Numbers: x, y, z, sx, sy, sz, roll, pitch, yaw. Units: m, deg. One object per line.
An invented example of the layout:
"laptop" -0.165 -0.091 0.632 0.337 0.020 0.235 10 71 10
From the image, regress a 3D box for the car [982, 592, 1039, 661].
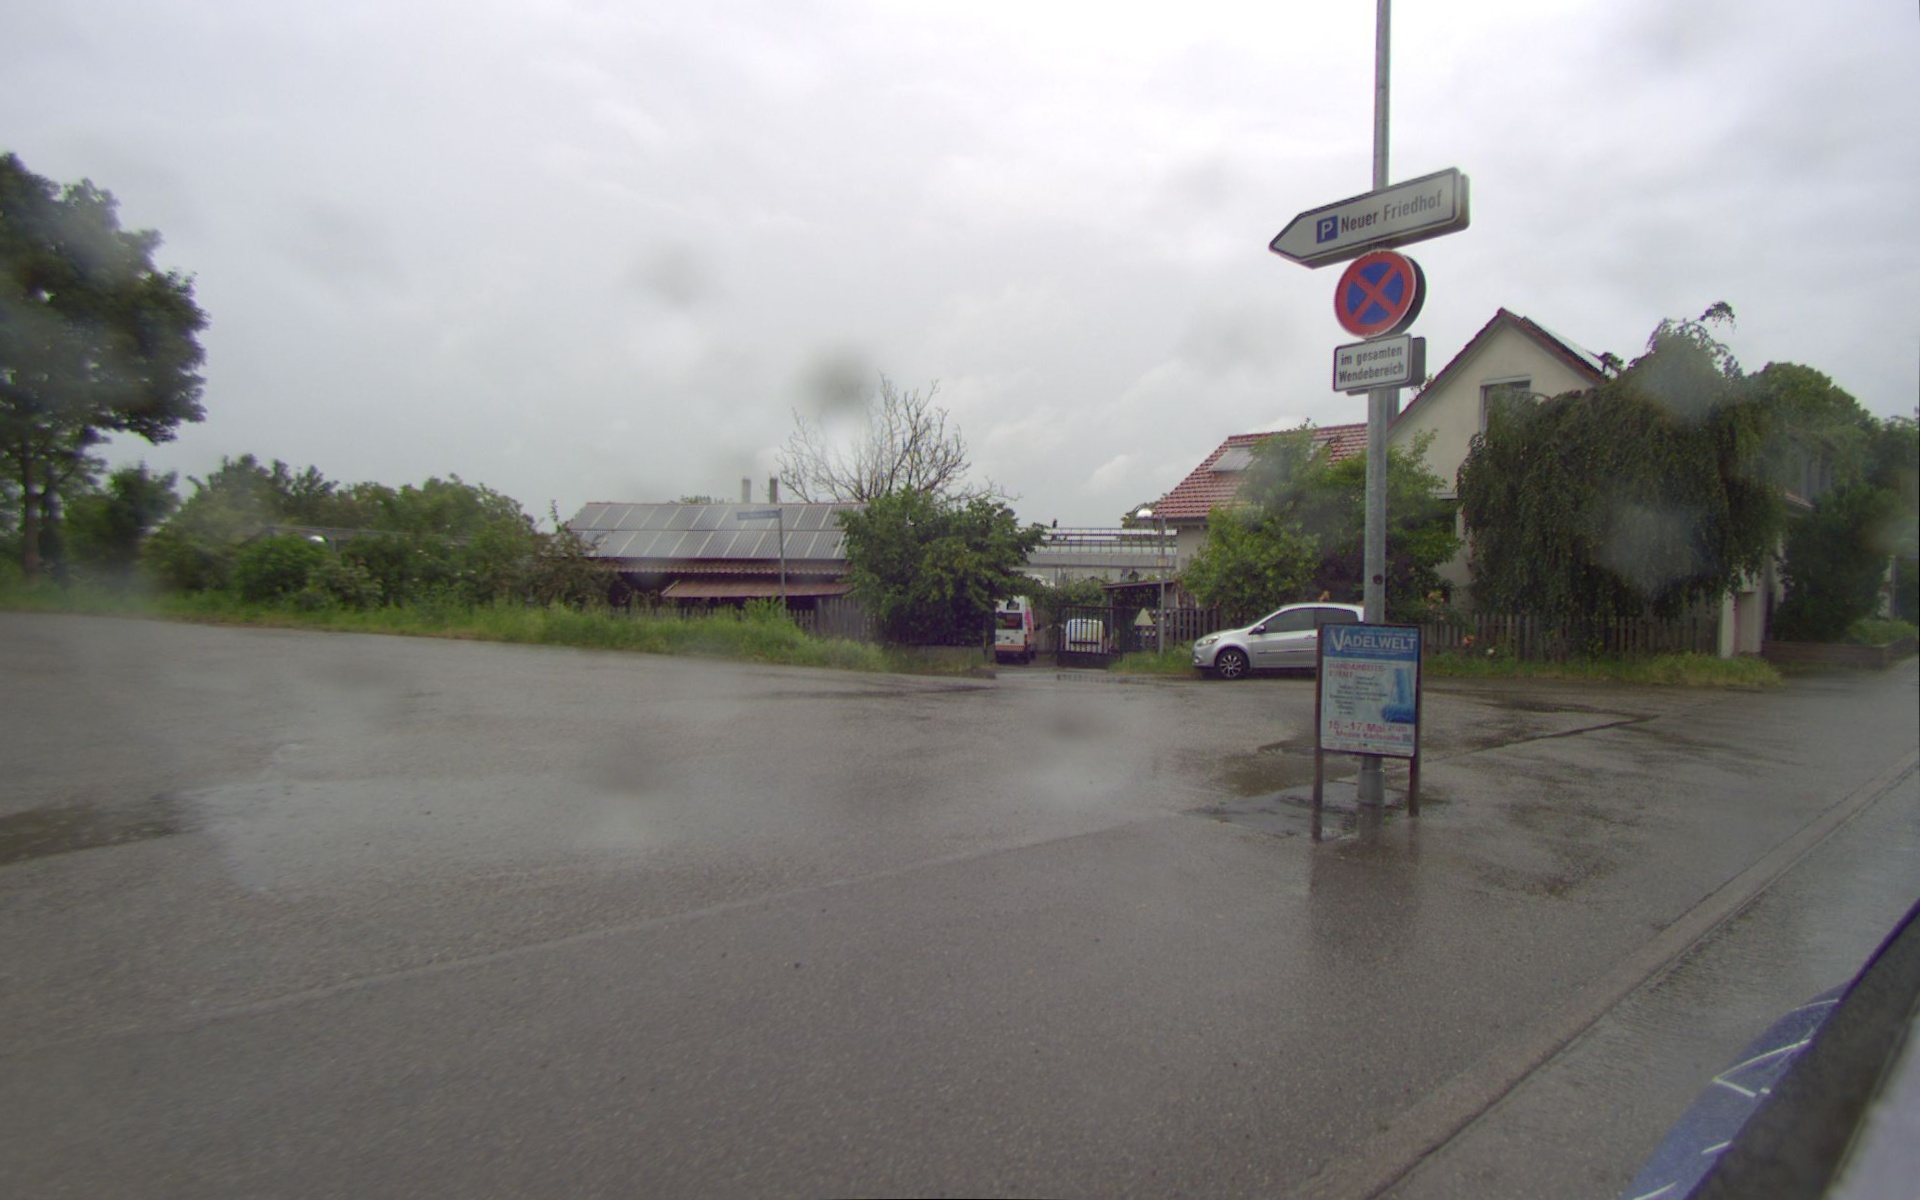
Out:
"car" 2.081 0.994 40.462 1.966 2.543 3.992 2 0 7

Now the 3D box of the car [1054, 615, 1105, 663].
"car" 4.764 1.492 40.141 1.901 1.705 3.991 0 0 8

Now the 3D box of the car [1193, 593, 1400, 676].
"car" 6.696 0.652 20.458 3.803 1.551 1.710 0 0 17
